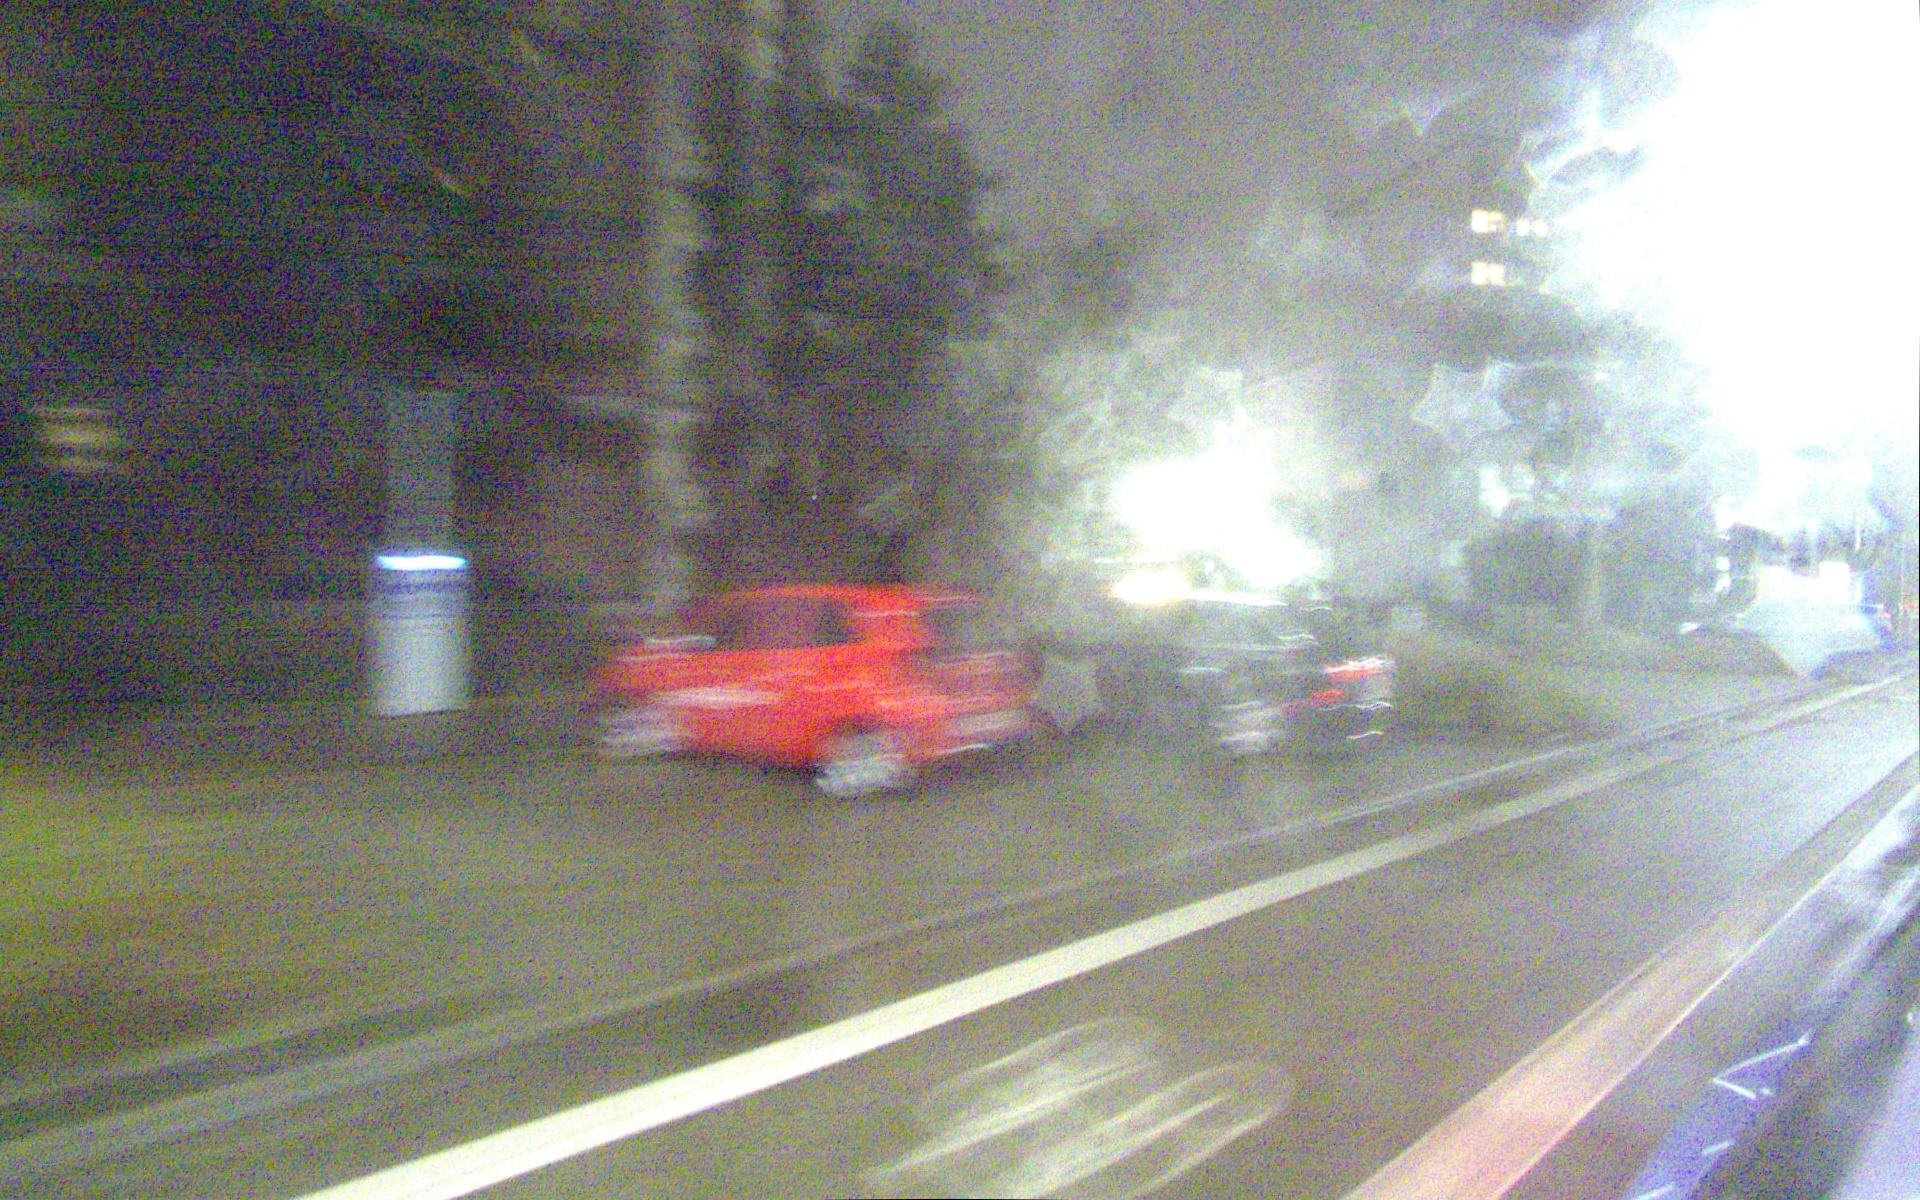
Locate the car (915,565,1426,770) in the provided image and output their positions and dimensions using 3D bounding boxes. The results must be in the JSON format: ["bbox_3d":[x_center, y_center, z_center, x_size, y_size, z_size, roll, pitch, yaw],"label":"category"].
[{"bbox_3d":[1.972,0.481,9.940,4.563,1.493,1.820,3,2,31],"label":"car"}]

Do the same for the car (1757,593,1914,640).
[{"bbox_3d":[30.172,0.556,34.959,3.835,1.531,1.711,1,1,3],"label":"car"}]

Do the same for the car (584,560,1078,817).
[{"bbox_3d":[-1.097,0.510,8.043,3.677,1.536,1.640,3,2,32],"label":"car"}]

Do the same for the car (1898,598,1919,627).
[{"bbox_3d":[53.057,0.678,54.092,3.946,1.546,1.797,1,1,8],"label":"car"}]

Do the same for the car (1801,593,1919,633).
[{"bbox_3d":[35.554,0.493,39.233,4.185,1.435,1.781,1,1,9],"label":"car"}]

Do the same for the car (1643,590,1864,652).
[{"bbox_3d":[20.950,0.517,26.899,4.273,1.486,1.676,1,1,12],"label":"car"}]

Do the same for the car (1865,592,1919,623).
[{"bbox_3d":[49.267,0.404,52.130,3.602,1.546,1.715,1,1,4],"label":"car"}]

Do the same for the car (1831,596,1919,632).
[{"bbox_3d":[40.172,0.599,43.388,4.108,1.501,1.662,0,-1,1],"label":"car"}]
